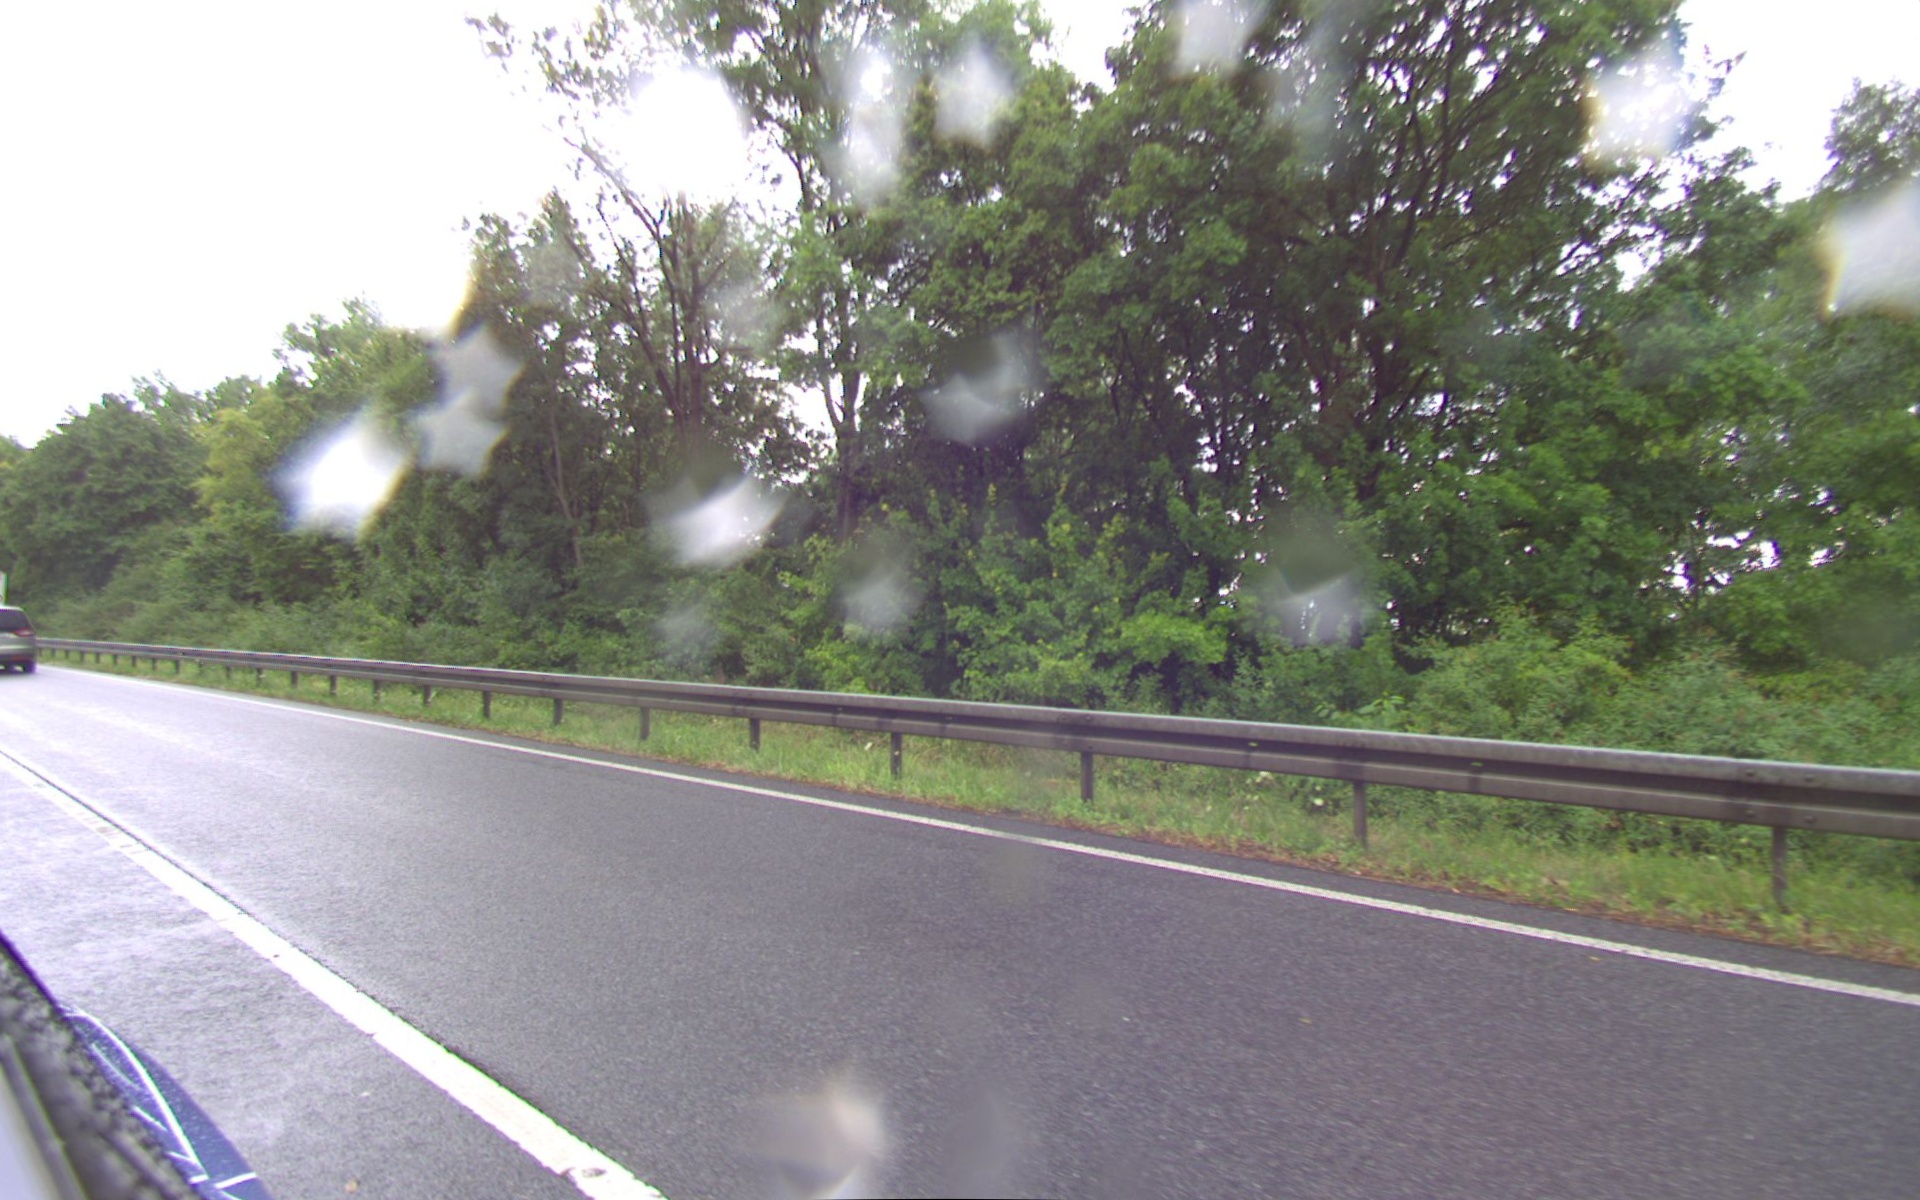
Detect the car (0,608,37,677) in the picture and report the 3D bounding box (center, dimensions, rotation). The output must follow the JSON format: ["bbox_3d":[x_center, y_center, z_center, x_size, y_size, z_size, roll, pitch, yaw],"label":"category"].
[{"bbox_3d":[-25.807,1.063,26.583,4.620,1.699,1.796,0,0,41],"label":"car"}]
